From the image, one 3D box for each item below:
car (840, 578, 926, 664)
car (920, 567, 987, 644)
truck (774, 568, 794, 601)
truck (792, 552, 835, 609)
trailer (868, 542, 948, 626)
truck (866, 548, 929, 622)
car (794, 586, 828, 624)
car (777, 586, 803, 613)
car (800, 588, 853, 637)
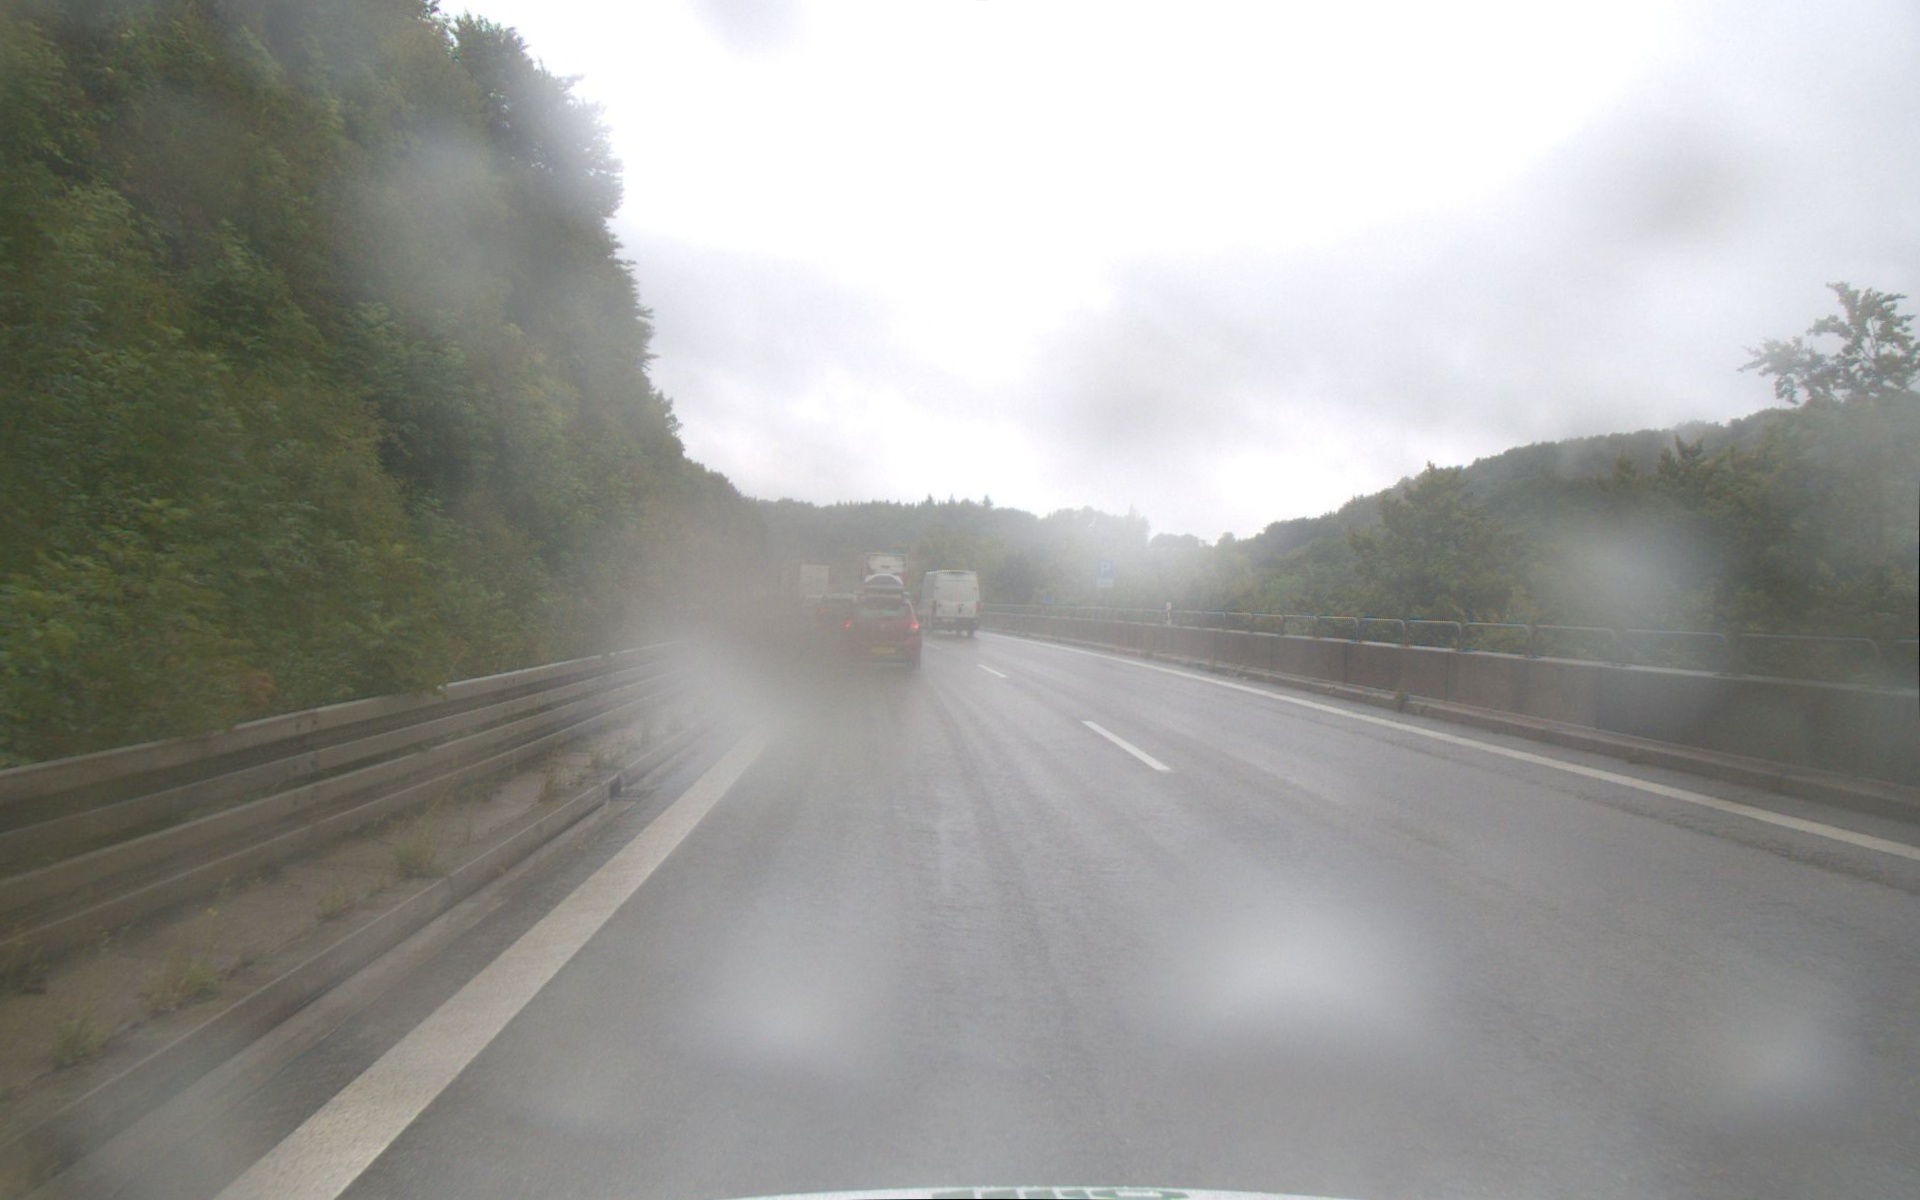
[{"bbox_3d":[-1.632,0.428,35.441,1.723,1.714,3.998,1,0,-2],"label":"car"},{"bbox_3d":[-0.333,0.234,68.549,2.163,2.842,7.377,4,0,-3],"label":"car"},{"bbox_3d":[-19.346,-1.645,181.547,2.065,3.480,6.211,1,0,-8],"label":"truck"},{"bbox_3d":[-12.971,-1.643,145.513,3.163,4.764,8.282,1,0,-9],"label":"truck"},{"bbox_3d":[-2.979,-0.808,89.802,3.157,4.068,13.506,3,0,-6],"label":"trailer"},{"bbox_3d":[-3.683,-0.836,96.512,3.158,4.047,5.431,3,0,-6],"label":"truck"},{"bbox_3d":[-7.650,0.265,84.748,1.683,1.849,3.887,1,0,-6],"label":"car"},{"bbox_3d":[-13.368,-0.005,130.280,1.955,2.049,3.996,1,0,-5],"label":"car"},{"bbox_3d":[-4.912,0.466,61.149,1.786,1.726,3.997,1,0,-3],"label":"car"}]
